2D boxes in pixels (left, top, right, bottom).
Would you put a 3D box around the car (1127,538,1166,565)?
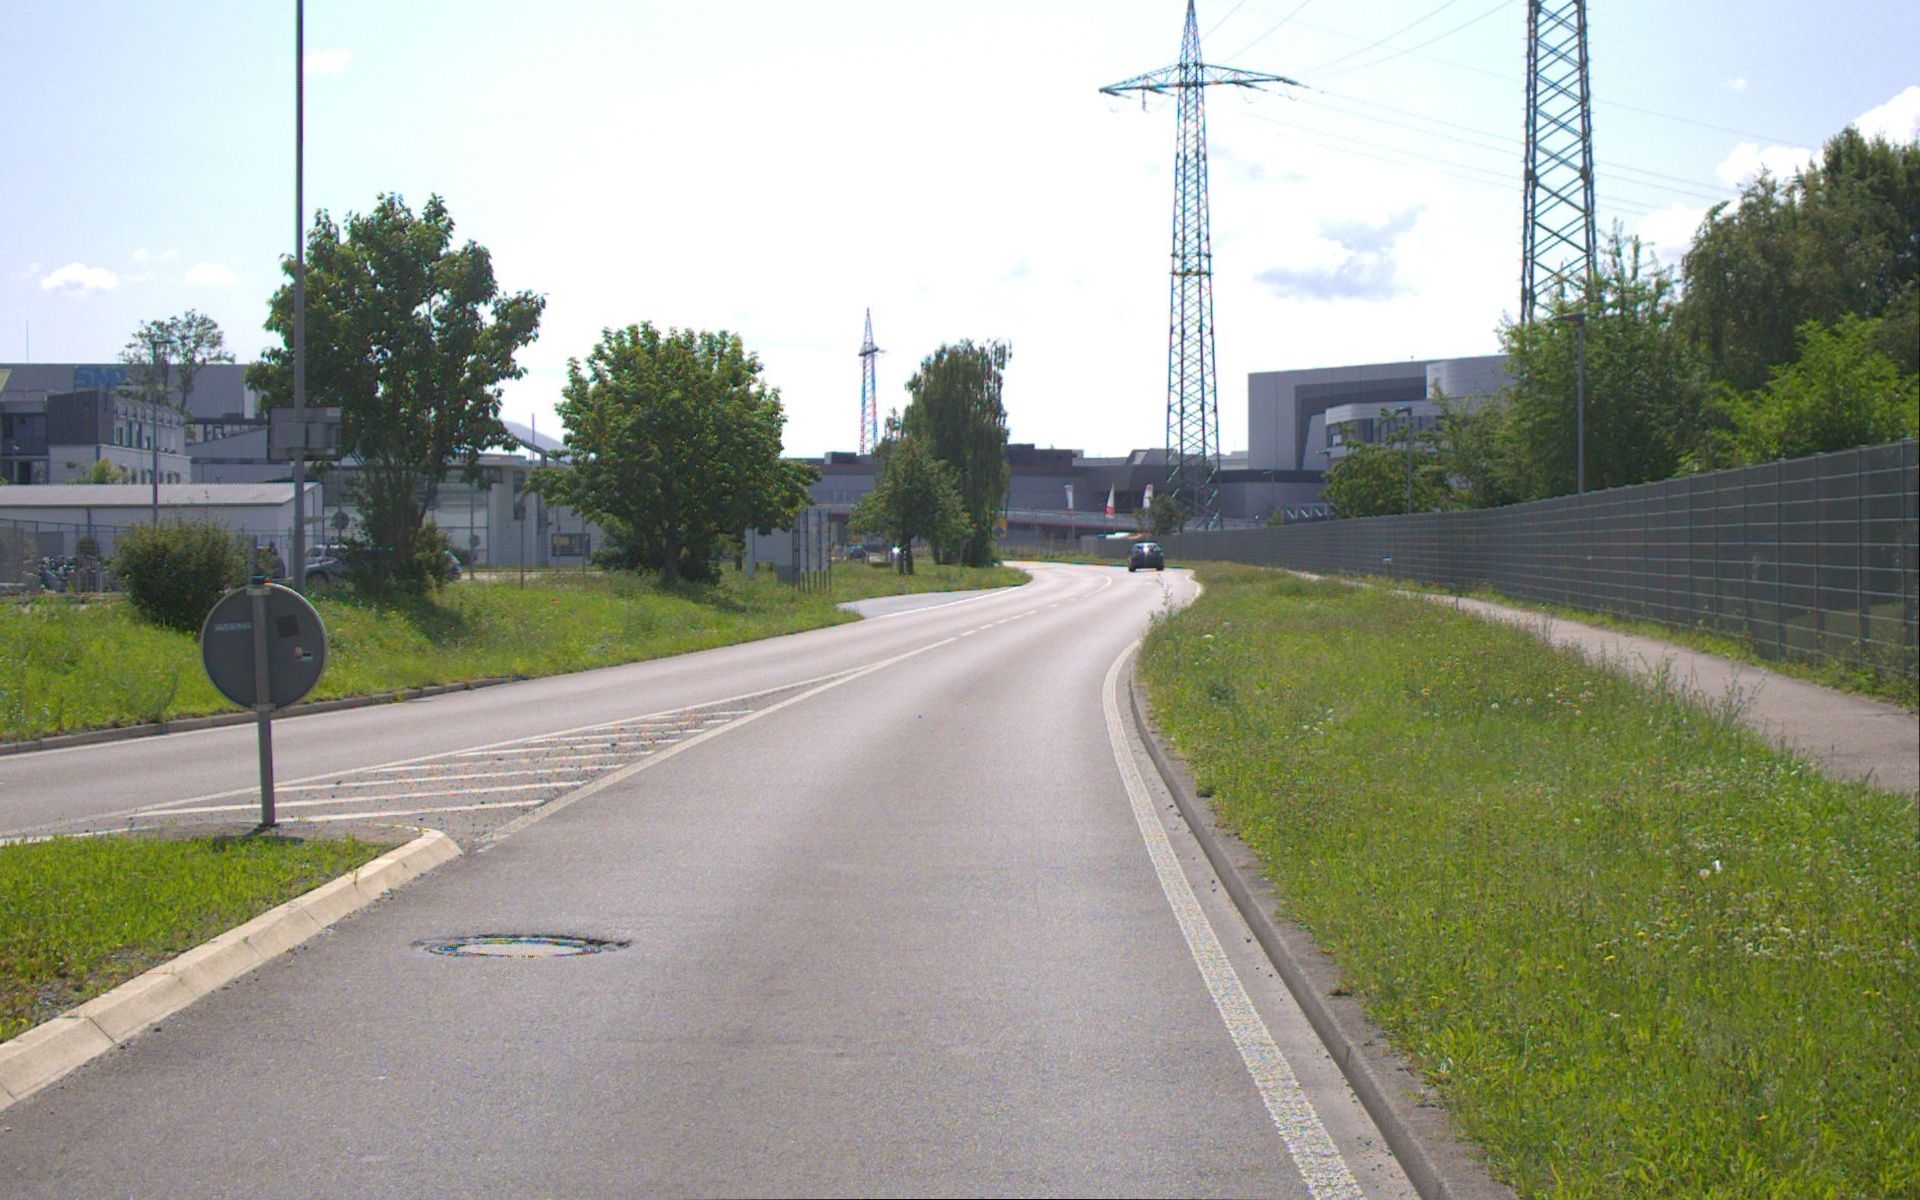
[{"bbox_3d":[10.243,-2.676,189.281,2.012,1.503,4.000,0,1,1],"label":"car"}]
